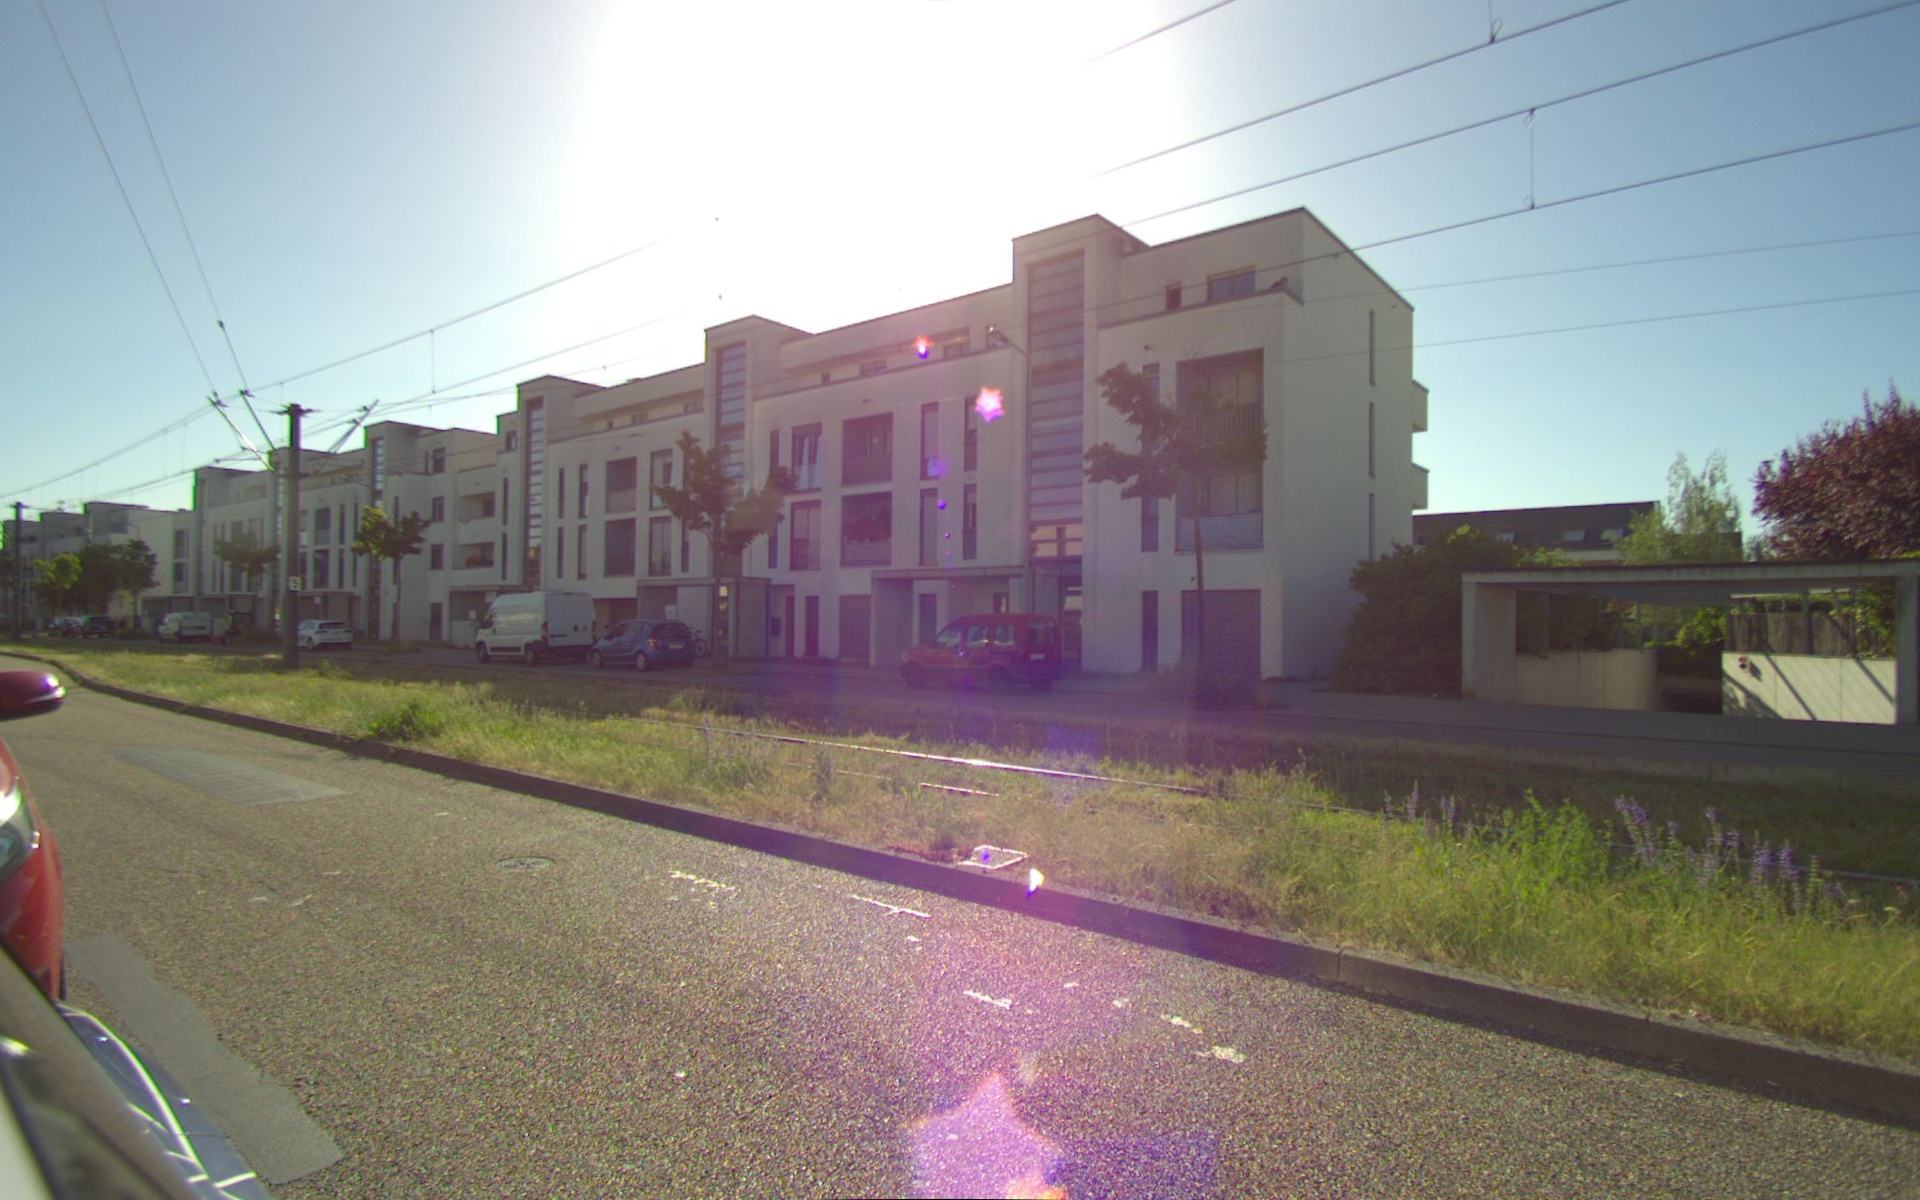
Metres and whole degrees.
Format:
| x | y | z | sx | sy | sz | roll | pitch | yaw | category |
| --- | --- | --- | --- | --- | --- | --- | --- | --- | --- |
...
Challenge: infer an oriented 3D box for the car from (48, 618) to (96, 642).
| x | y | z | sx | sy | sz | roll | pitch | yaw | category |
| --- | --- | --- | --- | --- | --- | --- | --- | --- | --- |
| -67.521 | 2.244 | 76.938 | 4.277 | 1.693 | 1.900 | -1 | 0 | 37 | car |

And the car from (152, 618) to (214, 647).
| x | y | z | sx | sy | sz | roll | pitch | yaw | category |
| --- | --- | --- | --- | --- | --- | --- | --- | --- | --- |
| -47.355 | 1.953 | 61.632 | 4.277 | 1.693 | 1.900 | -1 | 0 | 37 | car |

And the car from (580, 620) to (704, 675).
| x | y | z | sx | sy | sz | roll | pitch | yaw | category |
| --- | --- | --- | --- | --- | --- | --- | --- | --- | --- |
| -10.001 | 1.444 | 31.746 | 3.833 | 1.556 | 1.973 | -1 | 0 | 40 | car |

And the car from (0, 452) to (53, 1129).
| x | y | z | sx | sy | sz | roll | pitch | yaw | category |
| --- | --- | --- | --- | --- | --- | --- | --- | --- | --- |
| -4.874 | 0.552 | 3.660 | 4.505 | 1.868 | 1.850 | -1 | 0 | 41 | car |

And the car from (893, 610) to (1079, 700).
| x | y | z | sx | sy | sz | roll | pitch | yaw | category |
| --- | --- | --- | --- | --- | --- | --- | --- | --- | --- |
| 0.537 | 1.165 | 23.025 | 3.895 | 1.842 | 1.972 | -1 | 0 | 43 | car |

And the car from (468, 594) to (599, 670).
| x | y | z | sx | sy | sz | roll | pitch | yaw | category |
| --- | --- | --- | --- | --- | --- | --- | --- | --- | --- |
| -15.195 | 1.070 | 35.951 | 5.193 | 2.491 | 2.197 | -1 | 0 | 40 | car |

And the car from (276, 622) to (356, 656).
| x | y | z | sx | sy | sz | roll | pitch | yaw | category |
| --- | --- | --- | --- | --- | --- | --- | --- | --- | --- |
| -31.136 | 1.832 | 48.906 | 4.277 | 1.517 | 1.900 | -1 | 0 | 37 | car |

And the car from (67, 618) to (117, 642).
| x | y | z | sx | sy | sz | roll | pitch | yaw | category |
| --- | --- | --- | --- | --- | --- | --- | --- | --- | --- |
| -62.977 | 2.154 | 73.413 | 4.277 | 1.693 | 1.900 | -1 | 0 | 37 | car |
